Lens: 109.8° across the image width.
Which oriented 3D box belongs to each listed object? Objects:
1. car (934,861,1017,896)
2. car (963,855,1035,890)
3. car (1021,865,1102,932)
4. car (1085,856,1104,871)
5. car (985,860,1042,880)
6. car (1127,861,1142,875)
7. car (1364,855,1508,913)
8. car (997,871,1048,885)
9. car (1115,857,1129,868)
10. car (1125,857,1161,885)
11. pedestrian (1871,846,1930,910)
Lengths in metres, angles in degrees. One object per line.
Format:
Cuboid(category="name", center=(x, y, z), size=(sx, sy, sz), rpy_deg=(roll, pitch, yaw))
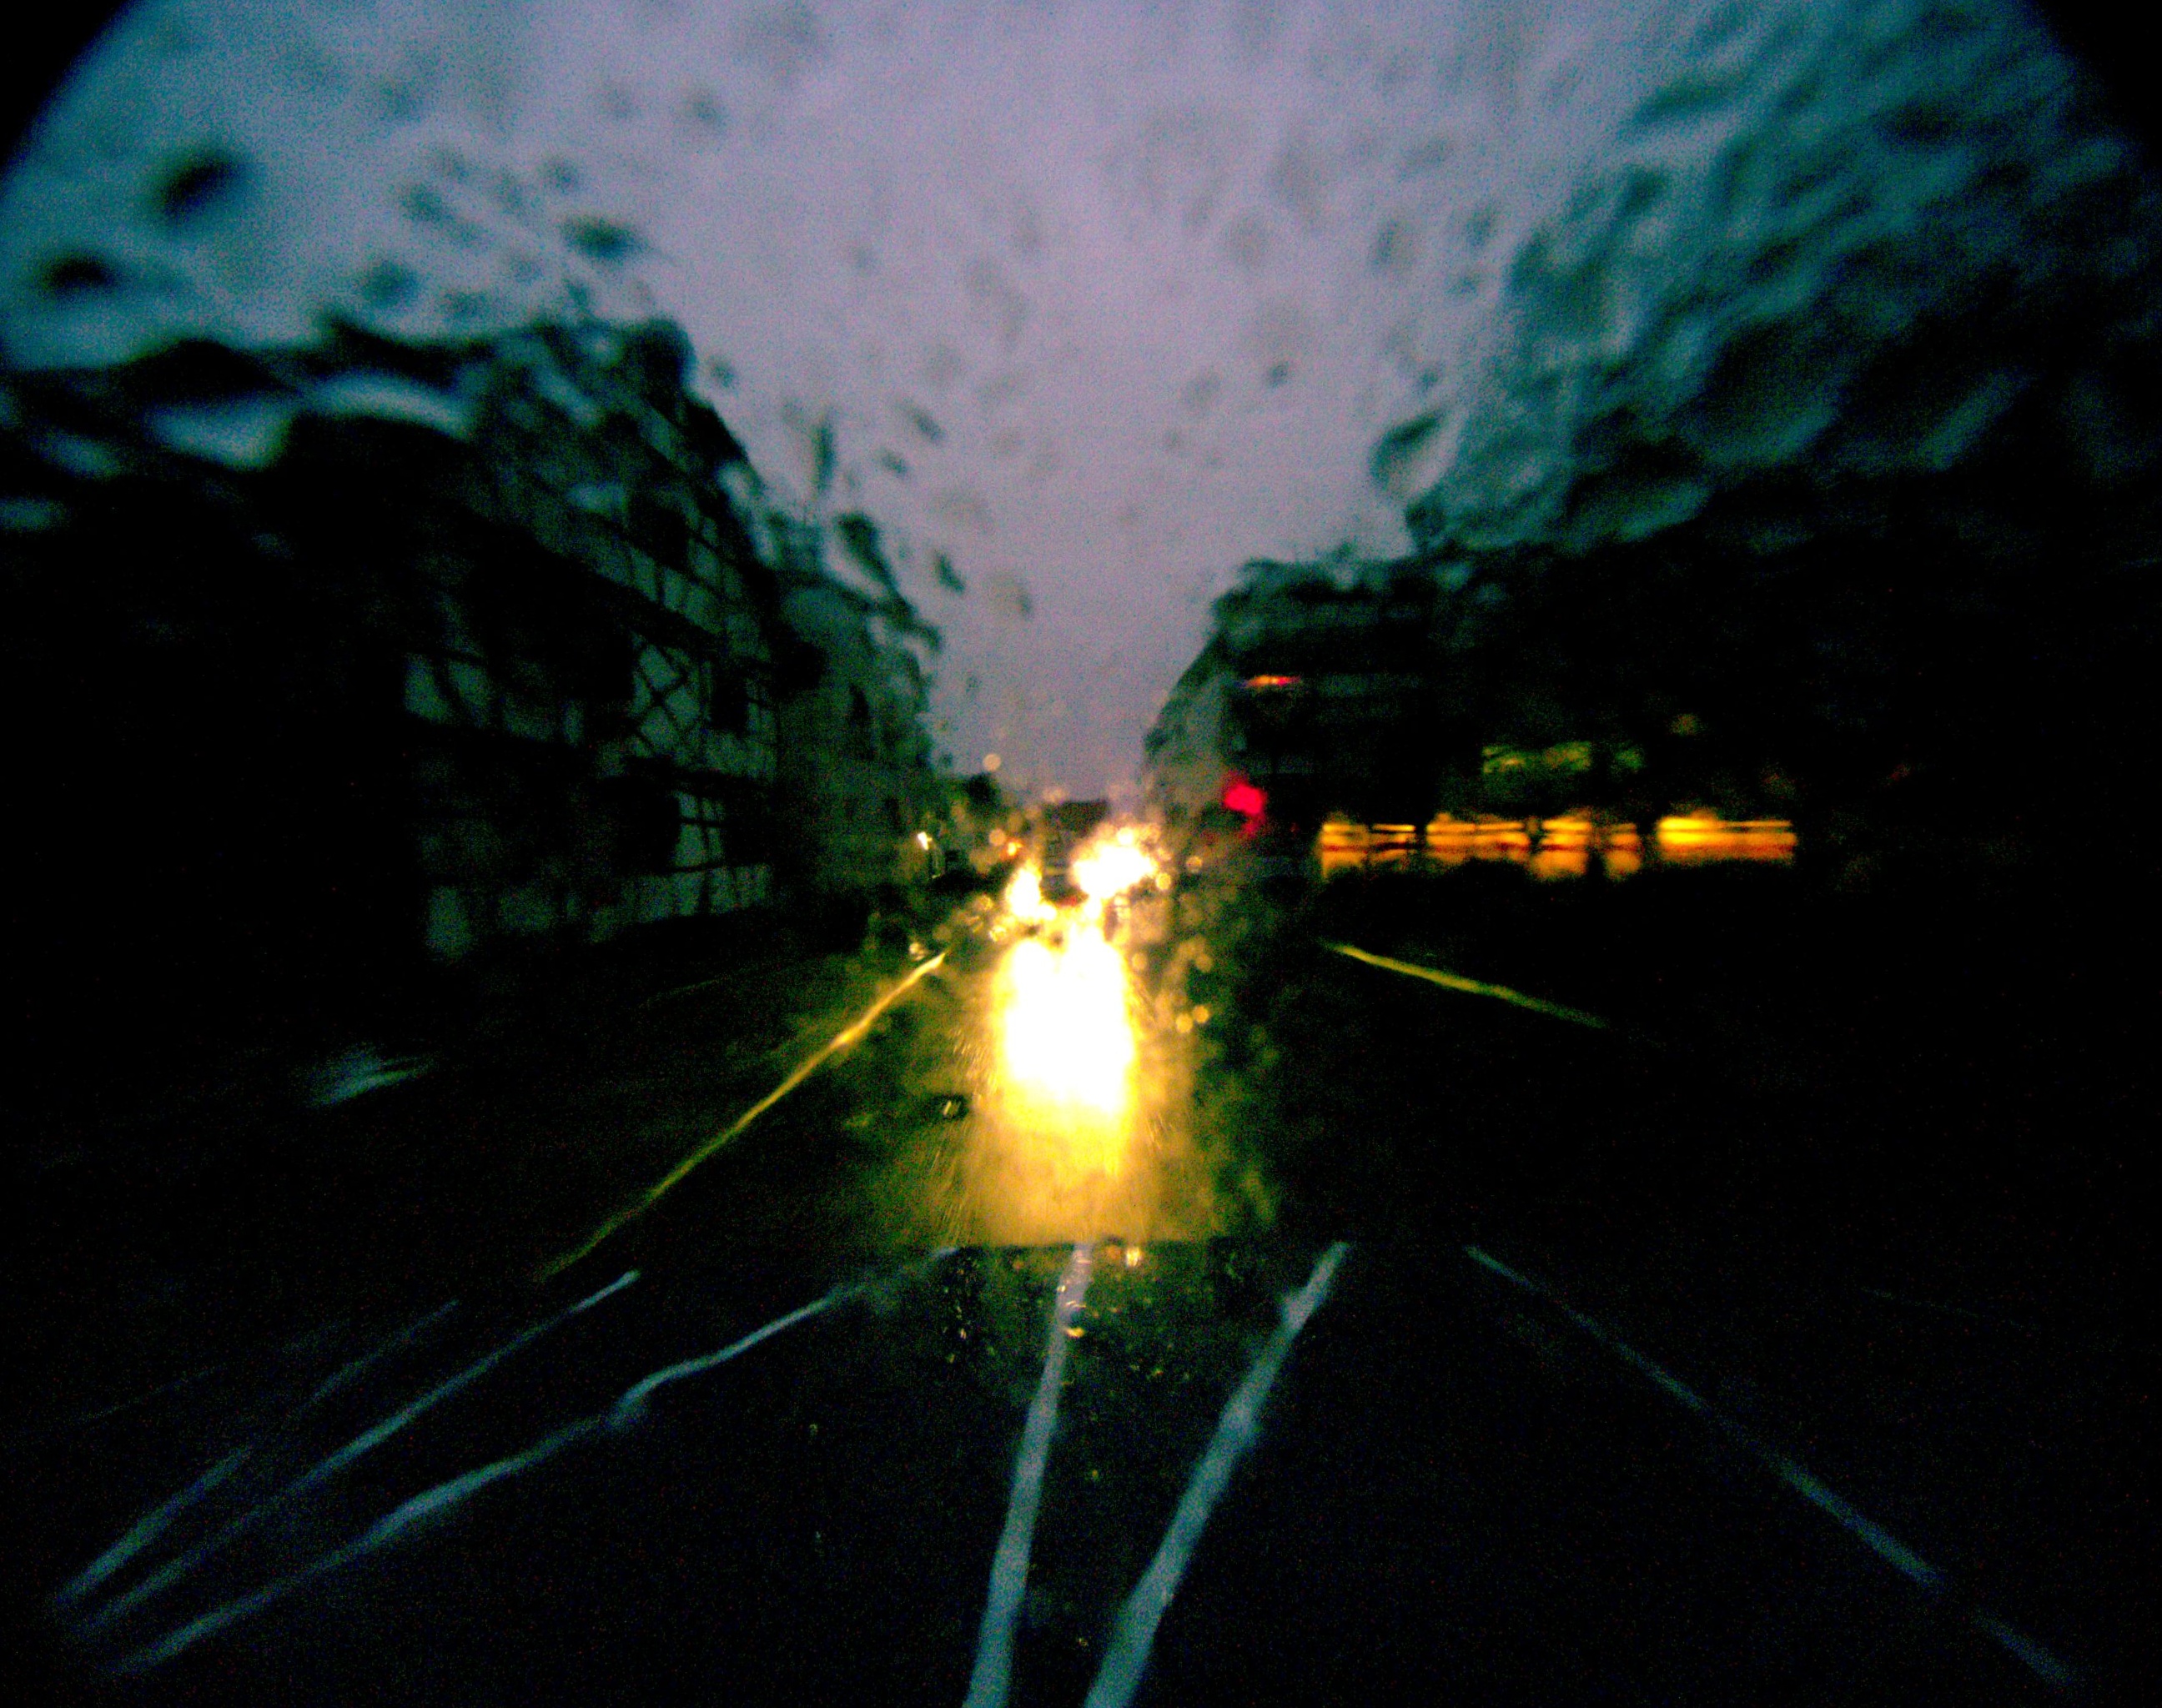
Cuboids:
Cuboid(category="car", center=(-5.029, 1.150, 36.460), size=(3.853, 1.618, 1.611), rpy_deg=(1, 0, -5))
Cuboid(category="car", center=(-4.503, 1.004, 41.951), size=(3.890, 1.866, 1.868), rpy_deg=(0, 0, -6))
Cuboid(category="car", center=(-0.393, 1.049, 19.261), size=(1.731, 1.475, 3.605), rpy_deg=(-2, 0, 3))
Cuboid(category="car", center=(1.521, 1.087, 85.173), size=(1.923, 1.608, 3.869), rpy_deg=(-2, 0, 4))
Cuboid(category="car", center=(-4.753, 1.143, 53.928), size=(3.888, 1.359, 1.551), rpy_deg=(0, 0, -1))
Cuboid(category="car", center=(7.063, 1.826, 100.044), size=(1.892, 1.670, 4.002), rpy_deg=(-2, 0, 5))
Cuboid(category="car", center=(9.697, 0.812, 20.989), size=(3.306, 1.498, 1.503), rpy_deg=(-2, 0, 10))
Cuboid(category="car", center=(-4.559, 1.873, 59.572), size=(3.888, 1.120, 1.551), rpy_deg=(0, 0, -1))
Cuboid(category="car", center=(6.657, 1.411, 122.529), size=(1.836, 1.703, 3.702), rpy_deg=(-2, 0, 9))
Cuboid(category="car", center=(3.852, 1.012, 47.416), size=(1.900, 1.607, 3.827), rpy_deg=(-2, 0, 0))
Cuboid(category="pedestrian", center=(17.591, 0.506, 16.320), size=(0.620, 1.331, 0.568), rpy_deg=(-1, 0, 12))
